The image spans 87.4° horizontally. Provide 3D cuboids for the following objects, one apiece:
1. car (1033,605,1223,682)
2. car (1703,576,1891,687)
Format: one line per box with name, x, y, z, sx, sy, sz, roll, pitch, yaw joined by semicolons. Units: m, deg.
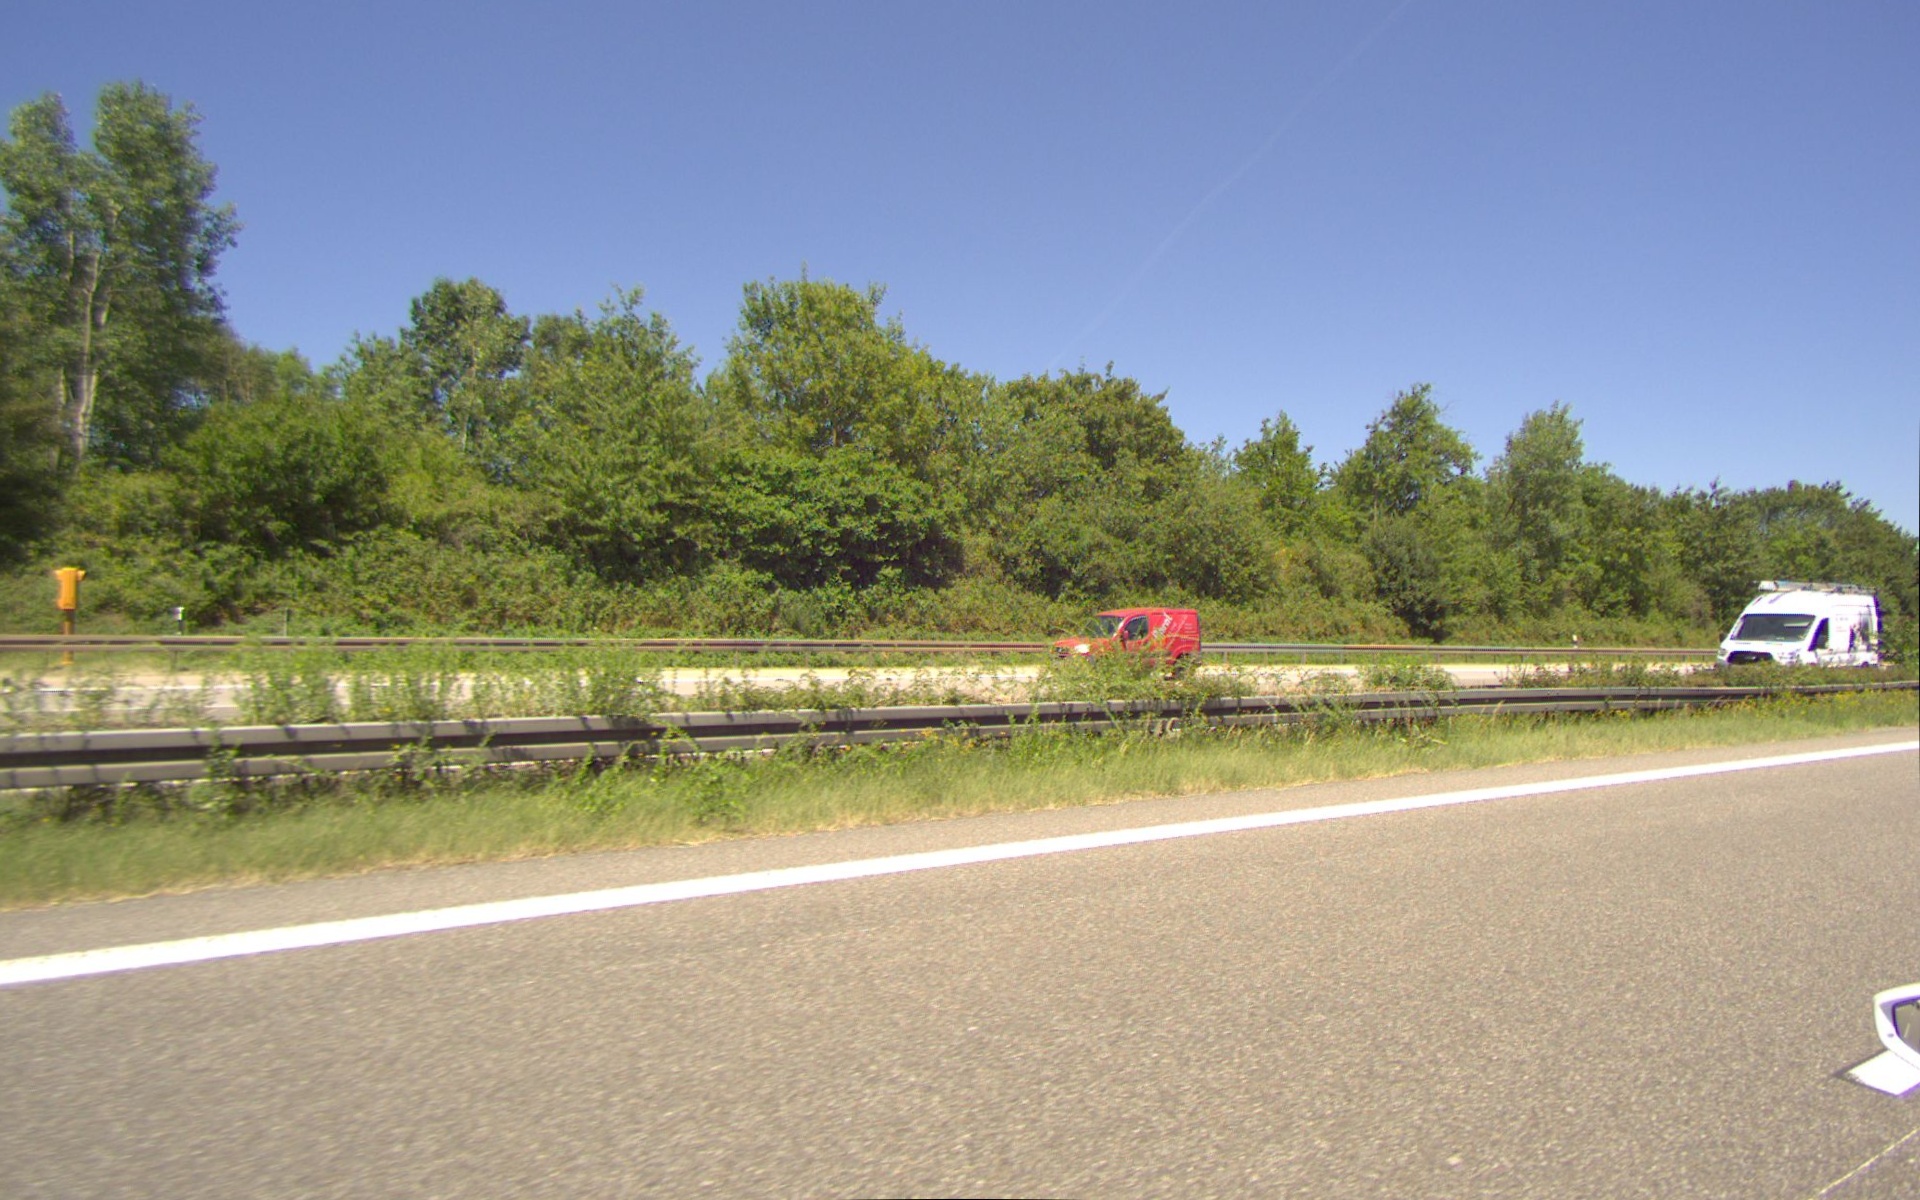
car;4.307;1.091;25.459;4.708;1.800;1.697;2;-1;-29
car;23.086;0.872;27.653;5.758;2.815;2.079;2;-1;-29
